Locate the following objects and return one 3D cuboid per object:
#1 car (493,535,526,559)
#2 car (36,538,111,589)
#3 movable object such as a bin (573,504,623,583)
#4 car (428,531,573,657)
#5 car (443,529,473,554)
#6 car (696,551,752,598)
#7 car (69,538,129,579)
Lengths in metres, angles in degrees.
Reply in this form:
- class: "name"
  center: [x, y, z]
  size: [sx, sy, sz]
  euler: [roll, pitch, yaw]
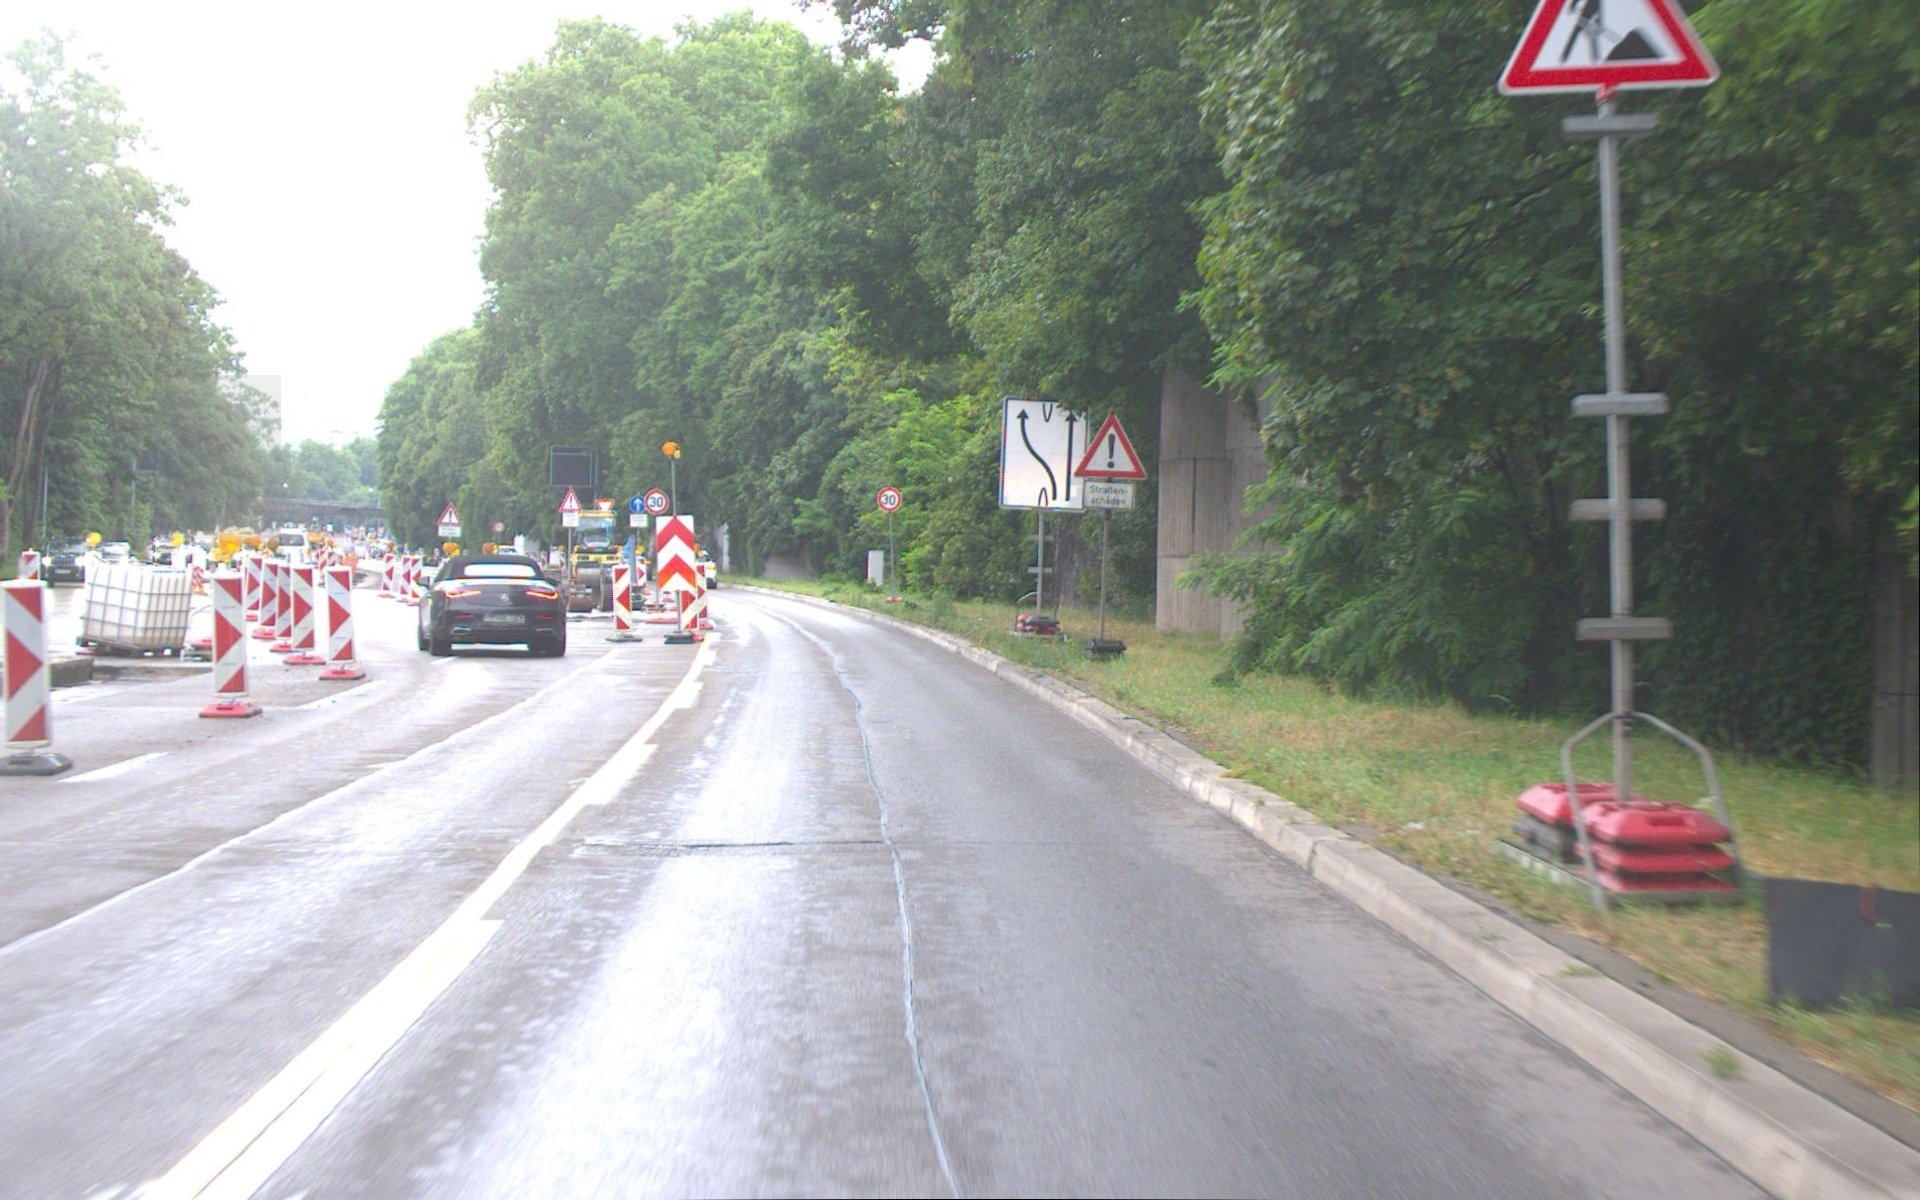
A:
- class: "car"
  center: [-27.687, -3.269, 211.255]
  size: [1.756, 1.339, 4.002]
  euler: [2, 2, -11]
- class: "car"
  center: [-29.306, -1.237, 113.710]
  size: [1.635, 1.641, 4.200]
  euler: [0, 1, -3]
- class: "movable object such as a bin"
  center: [-13.340, -2.074, 126.444]
  size: [1.746, 2.857, 3.535]
  euler: [0, 1, -7]
- class: "car"
  center: [-6.427, -0.118, 48.440]
  size: [1.861, 1.486, 4.002]
  euler: [2, 3, -6]
- class: "car"
  center: [-35.491, -4.119, 243.196]
  size: [1.875, 1.612, 4.001]
  euler: [3, 1, -6]
- class: "car"
  center: [-8.978, -0.982, 130.544]
  size: [1.913, 1.592, 4.835]
  euler: [1, 2, -6]
- class: "car"
  center: [-31.692, -1.543, 126.617]
  size: [1.525, 1.452, 3.540]
  euler: [-1, 1, -4]
